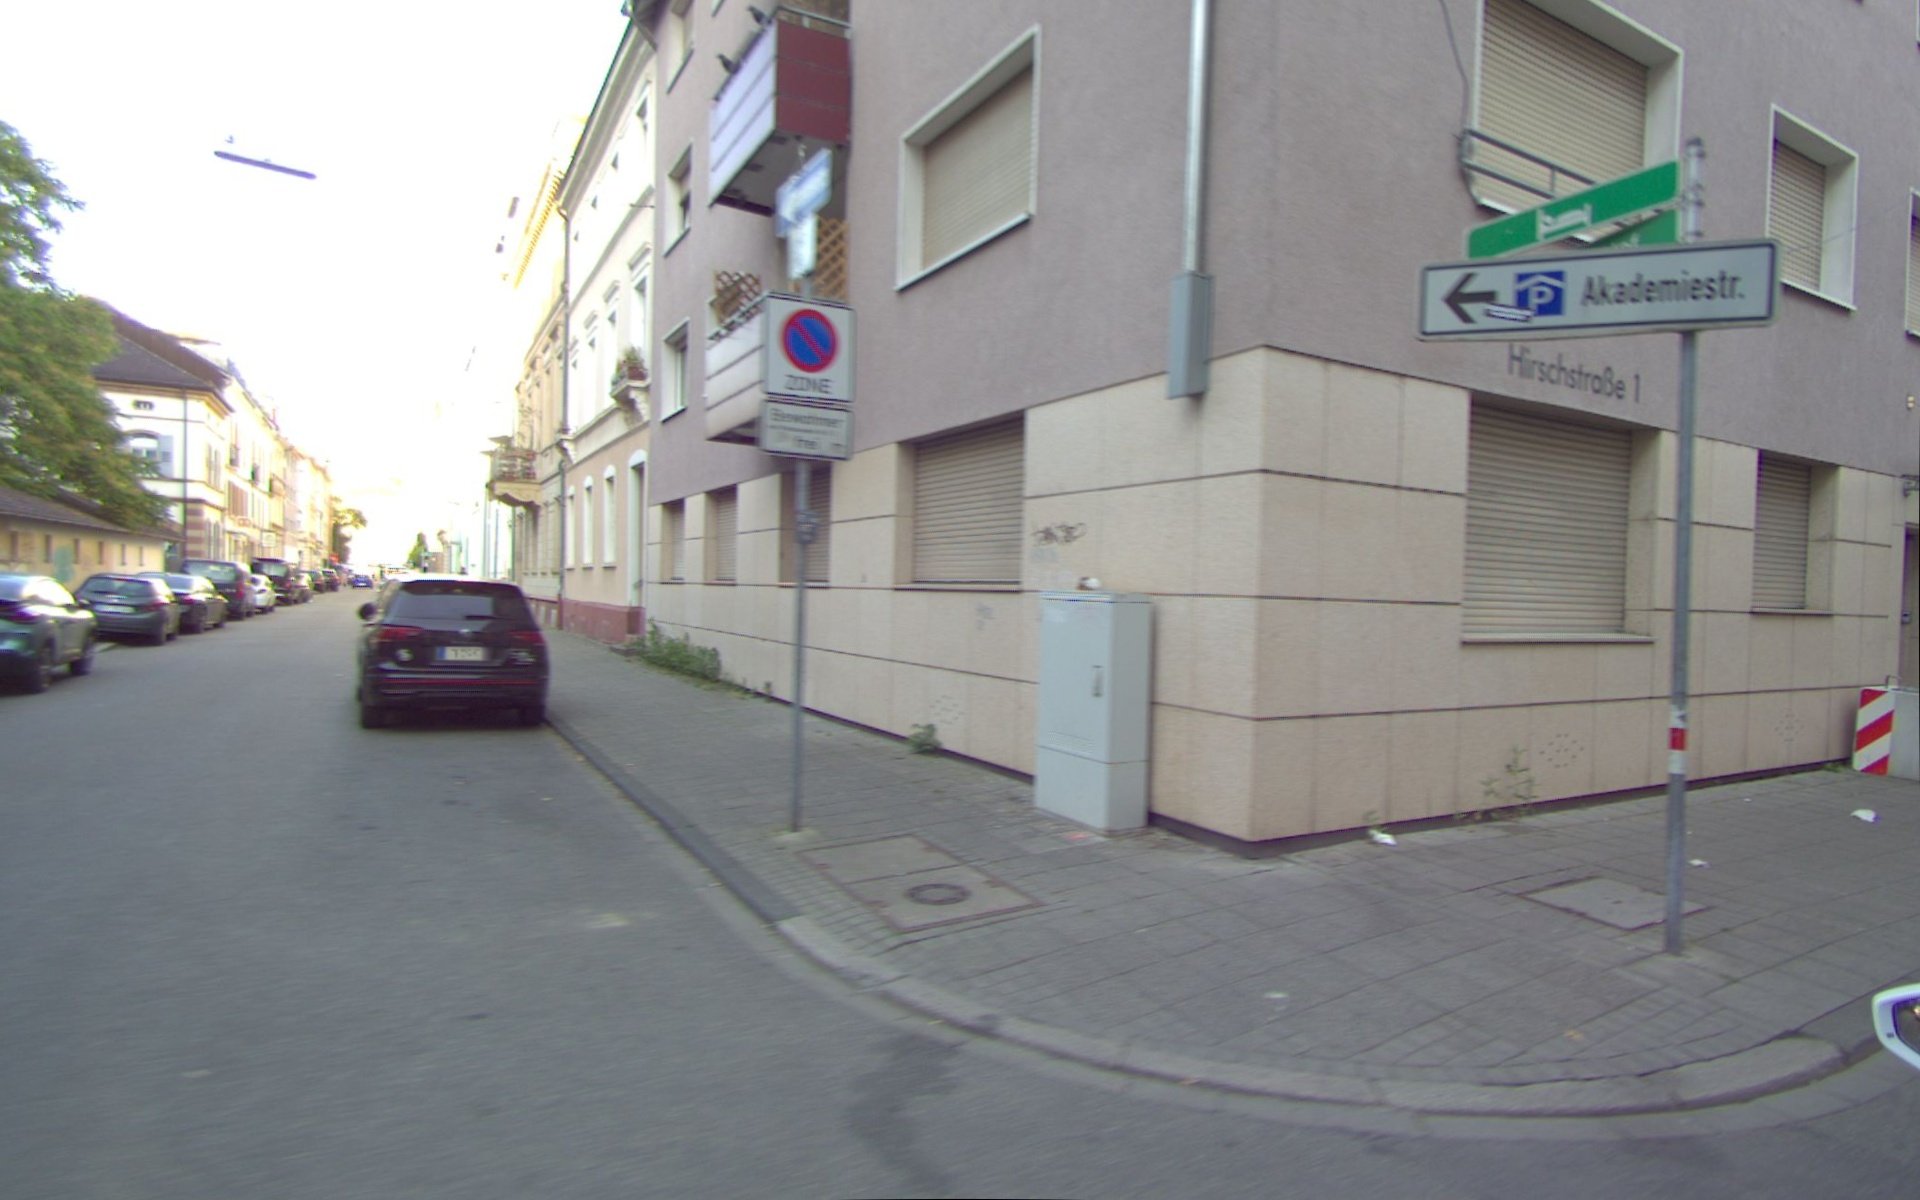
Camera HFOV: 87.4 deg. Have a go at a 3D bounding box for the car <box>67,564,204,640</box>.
[{"bbox_3d":[-18.451,0.021,22.648,1.693,1.477,3.941,4,-1,-30],"label":"car"}]

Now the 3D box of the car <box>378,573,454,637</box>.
[{"bbox_3d":[-14.058,0.103,25.875,1.543,1.460,3.345,4,-1,-30],"label":"car"}]

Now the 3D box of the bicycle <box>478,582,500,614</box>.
[{"bbox_3d":[-20.317,-0.105,43.290,0.653,1.304,2.413,1,1,-29],"label":"bicycle"}]

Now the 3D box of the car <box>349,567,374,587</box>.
[{"bbox_3d":[-57.455,-2.159,96.351,1.978,1.803,3.965,1,0,-32],"label":"car"}]

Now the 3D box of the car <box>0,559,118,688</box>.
[{"bbox_3d":[-13.279,0.236,13.874,1.808,1.597,3.968,2,1,-30],"label":"car"}]

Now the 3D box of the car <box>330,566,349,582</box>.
[{"bbox_3d":[-68.414,-2.873,110.776,1.692,1.622,3.941,1,1,-30],"label":"car"}]

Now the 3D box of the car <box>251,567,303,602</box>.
[{"bbox_3d":[-32.505,-0.748,47.861,1.693,1.477,3.941,4,-1,-30],"label":"car"}]

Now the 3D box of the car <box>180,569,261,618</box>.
[{"bbox_3d":[-24.941,-0.233,33.989,1.693,1.477,3.941,4,-1,-30],"label":"car"}]

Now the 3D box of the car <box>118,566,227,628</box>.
[{"bbox_3d":[-21.025,-0.101,26.956,1.693,1.477,3.941,4,-1,-30],"label":"car"}]

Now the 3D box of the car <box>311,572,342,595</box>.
[{"bbox_3d":[-50.762,-1.311,80.524,1.978,1.721,3.965,1,1,-32],"label":"car"}]

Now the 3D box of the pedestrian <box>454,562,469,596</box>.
[{"bbox_3d":[-25.460,-1.086,51.316,0.602,1.728,0.565,1,2,-33],"label":"pedestrian"}]

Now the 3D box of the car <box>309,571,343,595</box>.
[{"bbox_3d":[-45.815,-1.233,72.635,1.978,1.682,3.965,1,1,-32],"label":"car"}]

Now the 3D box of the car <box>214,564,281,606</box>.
[{"bbox_3d":[-27.787,-0.599,39.287,1.693,1.477,3.941,4,-1,-30],"label":"car"}]

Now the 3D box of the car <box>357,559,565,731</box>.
[{"bbox_3d":[-5.979,0.449,11.864,1.800,1.656,3.941,4,-1,-30],"label":"car"}]

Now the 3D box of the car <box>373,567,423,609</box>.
[{"bbox_3d":[-21.639,-0.467,38.662,1.543,1.460,3.345,4,-1,-30],"label":"car"}]
